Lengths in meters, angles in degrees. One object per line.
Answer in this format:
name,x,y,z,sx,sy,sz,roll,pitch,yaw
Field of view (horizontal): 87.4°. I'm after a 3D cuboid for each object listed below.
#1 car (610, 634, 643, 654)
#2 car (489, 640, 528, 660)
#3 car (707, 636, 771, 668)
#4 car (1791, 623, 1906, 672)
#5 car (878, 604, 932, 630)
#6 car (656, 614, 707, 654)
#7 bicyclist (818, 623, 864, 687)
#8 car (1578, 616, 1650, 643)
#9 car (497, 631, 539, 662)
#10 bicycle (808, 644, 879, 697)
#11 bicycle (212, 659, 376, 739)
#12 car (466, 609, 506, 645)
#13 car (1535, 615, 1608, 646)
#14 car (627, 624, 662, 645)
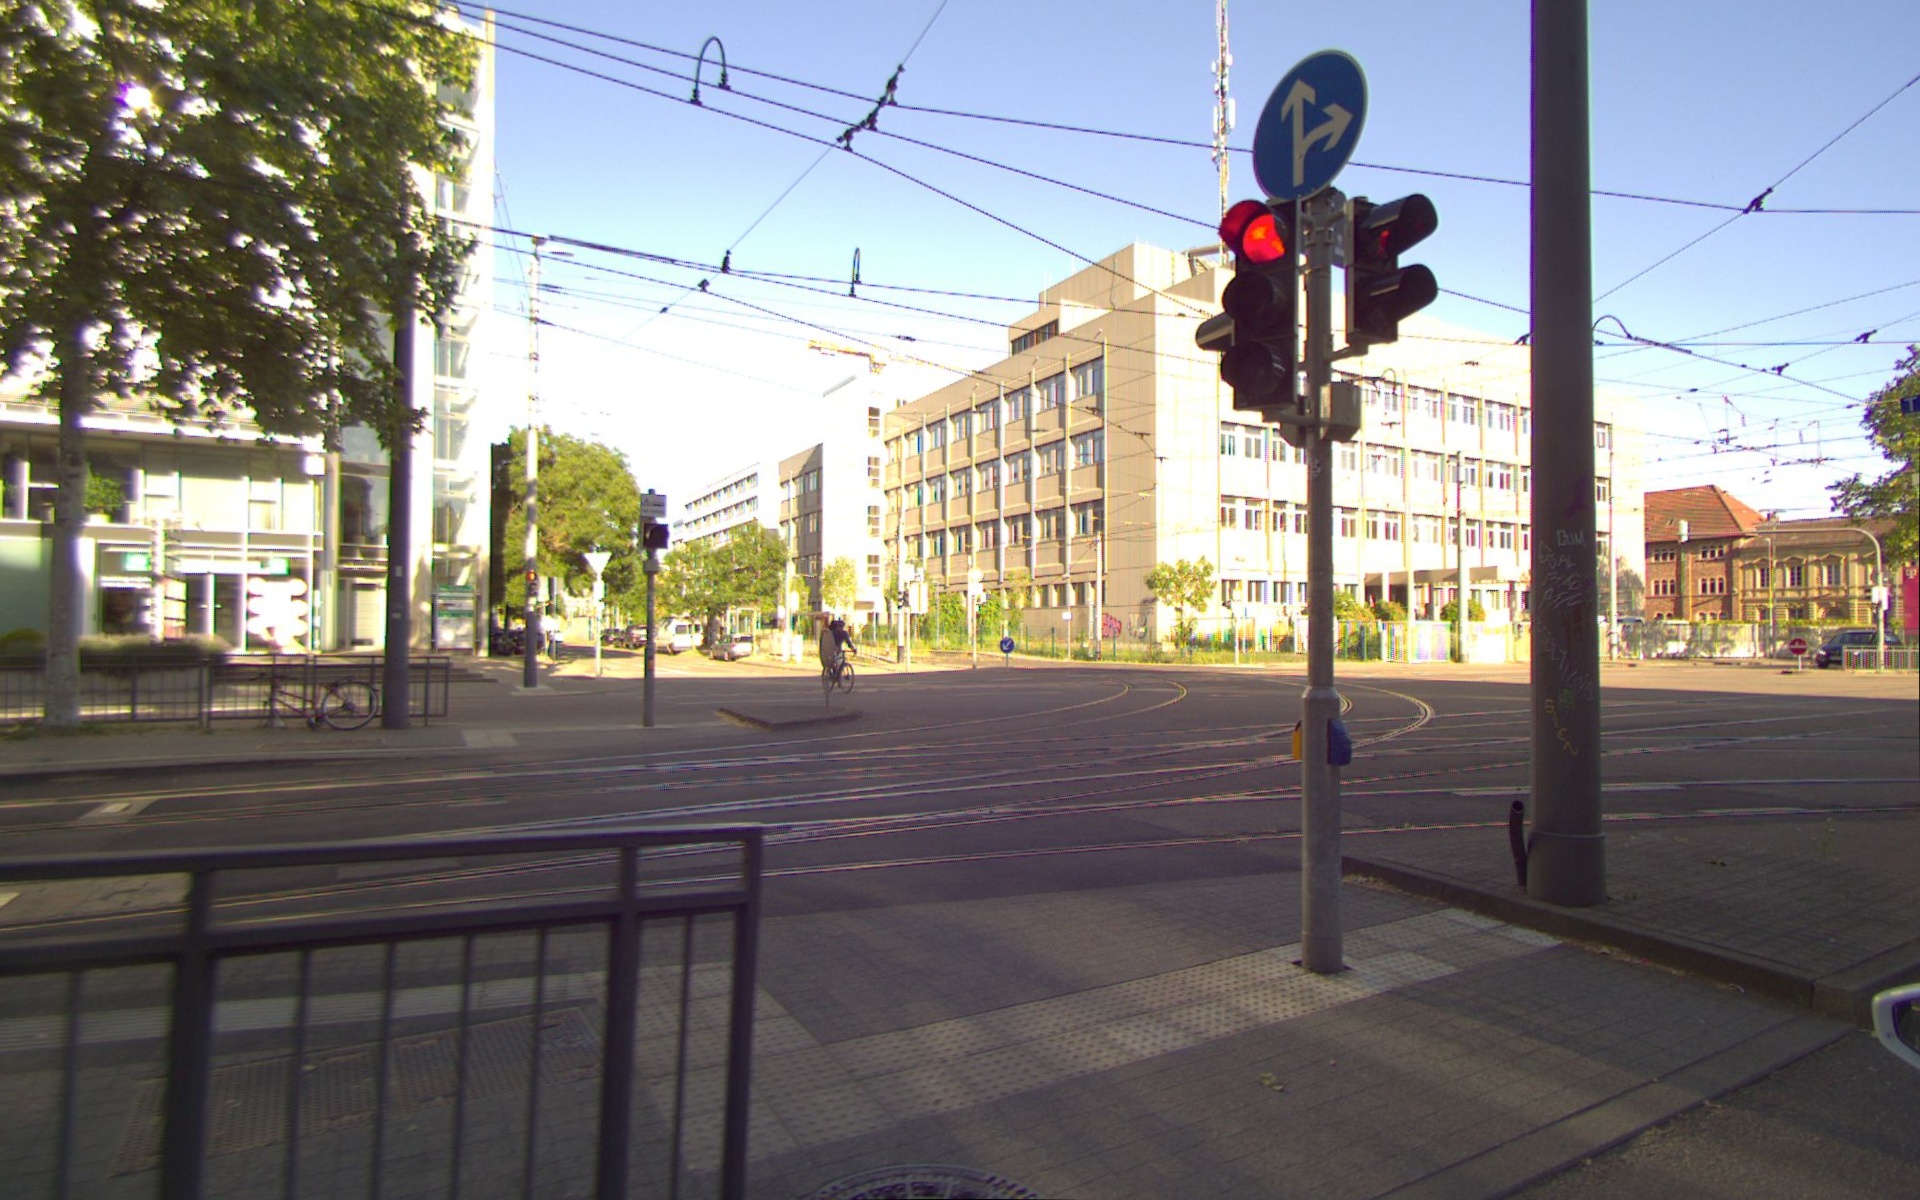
car,-27.793,3.658,83.686,1.735,1.579,3.916,1,-2,-32
car,-28.438,3.139,63.204,1.789,1.204,3.767,1,-2,-32
car,-12.348,2.884,56.015,2.088,1.720,3.931,1,-2,-36
car,37.500,1.978,42.388,4.361,1.973,1.989,0,-1,-23
car,-4.409,1.402,80.635,3.953,2.040,1.984,1,-2,-30
car,-18.724,2.268,67.406,2.158,2.538,4.363,1,-2,-32
bicyclist,-2.912,1.325,24.560,0.870,1.514,0.719,-1,-2,44
car,42.406,1.910,65.125,4.318,1.725,1.988,1,-2,-25
car,-24.764,2.579,56.204,1.715,1.675,3.922,1,-2,-30
bicycle,-2.866,1.705,24.512,2.015,1.205,0.587,-1,-2,44
bicycle,-8.885,1.301,13.495,1.701,0.958,0.811,1,-2,-24
car,-36.532,2.086,77.296,2.207,2.689,5.085,1,-2,-32
car,41.205,2.030,67.697,4.661,2.040,1.988,1,-2,-25
car,-24.937,2.701,79.215,1.734,1.579,3.916,1,-2,-32
